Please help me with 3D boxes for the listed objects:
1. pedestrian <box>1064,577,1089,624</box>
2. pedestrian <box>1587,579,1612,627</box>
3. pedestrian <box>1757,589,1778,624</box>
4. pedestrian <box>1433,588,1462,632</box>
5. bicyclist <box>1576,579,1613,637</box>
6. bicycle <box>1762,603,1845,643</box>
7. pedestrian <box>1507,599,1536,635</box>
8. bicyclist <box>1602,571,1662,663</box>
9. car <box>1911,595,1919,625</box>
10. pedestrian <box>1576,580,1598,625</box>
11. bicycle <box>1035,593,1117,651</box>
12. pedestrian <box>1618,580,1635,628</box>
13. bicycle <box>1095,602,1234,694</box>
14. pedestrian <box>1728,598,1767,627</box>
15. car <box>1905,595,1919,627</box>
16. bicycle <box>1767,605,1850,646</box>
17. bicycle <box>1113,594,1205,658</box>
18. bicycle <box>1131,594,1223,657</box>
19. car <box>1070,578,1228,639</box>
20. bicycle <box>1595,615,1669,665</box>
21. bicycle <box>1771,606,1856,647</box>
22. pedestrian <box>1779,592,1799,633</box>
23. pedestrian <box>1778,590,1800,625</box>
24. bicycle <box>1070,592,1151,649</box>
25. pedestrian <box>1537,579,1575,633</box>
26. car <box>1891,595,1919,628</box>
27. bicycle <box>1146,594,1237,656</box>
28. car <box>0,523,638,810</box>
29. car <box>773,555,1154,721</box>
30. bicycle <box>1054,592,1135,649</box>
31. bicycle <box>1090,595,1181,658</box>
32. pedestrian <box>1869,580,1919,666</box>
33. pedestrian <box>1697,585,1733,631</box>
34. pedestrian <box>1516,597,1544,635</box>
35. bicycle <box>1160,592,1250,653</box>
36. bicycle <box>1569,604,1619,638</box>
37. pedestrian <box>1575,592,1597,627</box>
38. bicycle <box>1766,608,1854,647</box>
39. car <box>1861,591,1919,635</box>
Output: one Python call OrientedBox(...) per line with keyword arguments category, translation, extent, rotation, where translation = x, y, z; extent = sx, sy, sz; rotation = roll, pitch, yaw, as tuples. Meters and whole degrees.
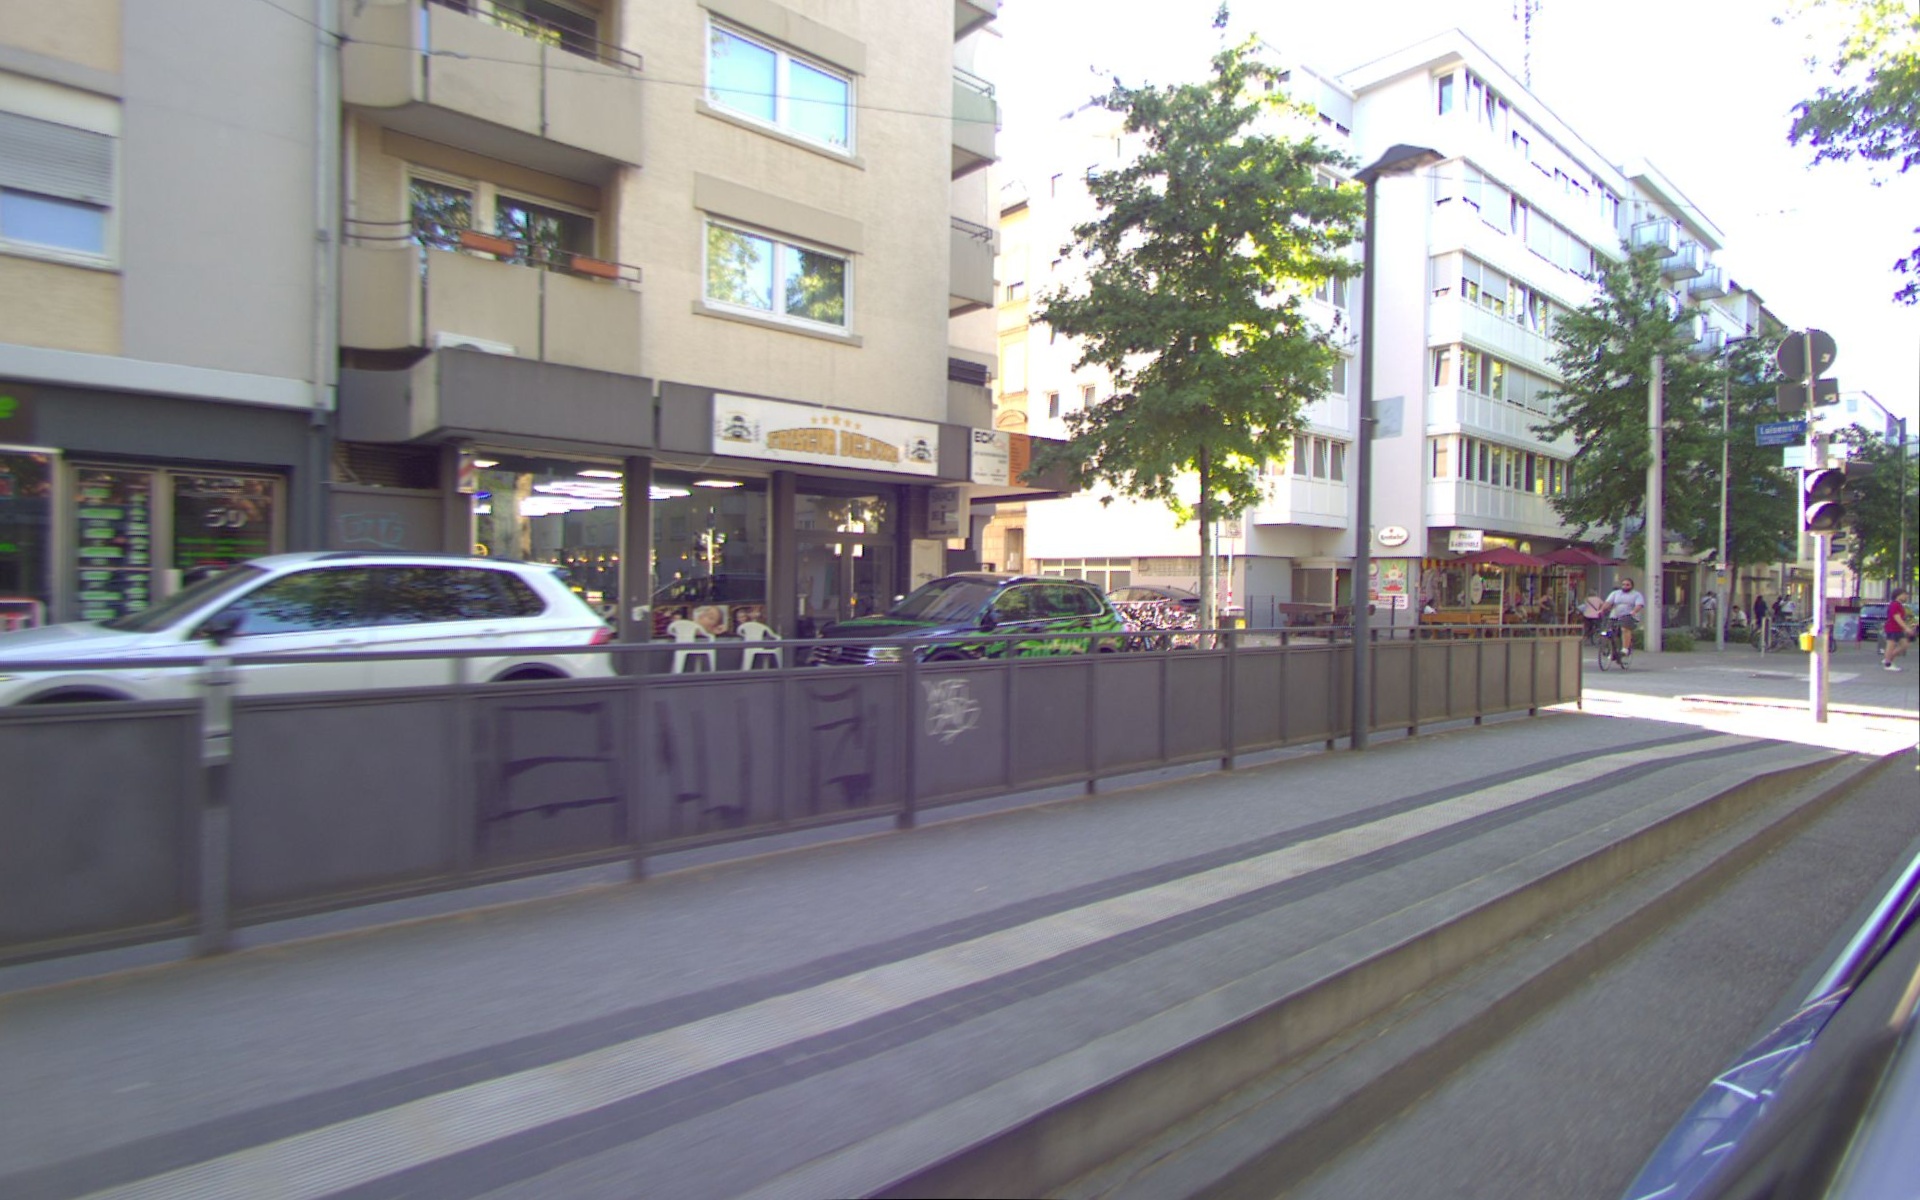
OrientedBox(category="pedestrian", translation=(3.983, 0.021, 34.637), extent=(0.633, 1.581, 0.553), rotation=(-1, 1, -36))
OrientedBox(category="pedestrian", translation=(24.385, 0.101, 38.613), extent=(0.620, 1.828, 0.526), rotation=(0, 0, 3))
OrientedBox(category="pedestrian", translation=(39.866, 0.305, 49.942), extent=(0.919, 1.698, 0.597), rotation=(0, 3, -43))
OrientedBox(category="pedestrian", translation=(14.898, 0.293, 30.922), extent=(0.703, 1.303, 0.536), rotation=(0, 0, -39))
OrientedBox(category="bicyclist", translation=(19.170, 0.234, 30.563), extent=(0.948, 1.739, 0.678), rotation=(0, 0, -39))
OrientedBox(category="bicycle", translation=(24.822, 0.662, 29.818), extent=(0.516, 1.114, 1.818), rotation=(0, 1, -41))
OrientedBox(category="pedestrian", translation=(17.459, 0.515, 31.474), extent=(0.513, 1.092, 0.642), rotation=(0, 0, -42))
OrientedBox(category="bicyclist", translation=(14.016, 0.341, 21.098), extent=(1.080, 1.854, 0.768), rotation=(0, 0, -40))
OrientedBox(category="car", translation=(52.272, 0.582, 54.002), extent=(4.056, 1.555, 1.790), rotation=(0, 3, -42))
OrientedBox(category="pedestrian", translation=(22.877, 0.081, 36.936), extent=(0.500, 1.649, 0.516), rotation=(0, 0, 12))
OrientedBox(category="bicycle", translation=(2.524, 0.458, 22.277), extent=(0.503, 1.223, 1.915), rotation=(-1, 1, -44))
OrientedBox(category="pedestrian", translation=(25.641, 0.142, 38.918), extent=(0.481, 1.819, 0.432), rotation=(0, 0, -42))
OrientedBox(category="bicycle", translation=(2.882, 0.641, 14.496), extent=(0.668, 1.202, 2.134), rotation=(0, 0, -32))
OrientedBox(category="pedestrian", translation=(28.712, 0.452, 36.912), extent=(0.992, 1.040, 0.655), rotation=(0, 0, 28))
OrientedBox(category="car", translation=(49.275, 0.564, 51.470), extent=(2.831, 1.556, 1.447), rotation=(0, 3, -41))
OrientedBox(category="bicycle", translation=(24.489, 0.721, 29.240), extent=(1.814, 1.114, 0.474), rotation=(0, 0, 42))
OrientedBox(category="bicycle", translation=(4.094, 0.514, 20.934), extent=(0.502, 1.223, 1.916), rotation=(1, 1, -44))
OrientedBox(category="bicycle", translation=(4.535, 0.515, 21.258), extent=(0.502, 1.223, 1.916), rotation=(1, 1, -44))
OrientedBox(category="car", translation=(5.415, 0.199, 29.427), extent=(1.933, 1.612, 4.255), rotation=(-2, 2, -41))
OrientedBox(category="bicycle", translation=(14.034, 0.804, 21.113), extent=(1.905, 0.949, 0.790), rotation=(-1, 0, -41))
OrientedBox(category="bicycle", translation=(24.160, 0.726, 28.667), extent=(1.814, 1.114, 0.490), rotation=(0, 0, 42))
OrientedBox(category="pedestrian", translation=(38.593, 0.586, 47.124), extent=(0.530, 1.875, 0.663), rotation=(0, 0, -42))
OrientedBox(category="pedestrian", translation=(40.429, 0.352, 49.352), extent=(0.855, 1.658, 0.643), rotation=(0, 2, -43))
OrientedBox(category="bicycle", translation=(3.419, 0.451, 23.159), extent=(0.502, 1.223, 1.915), rotation=(2, -1, -44))
OrientedBox(category="pedestrian", translation=(19.137, 0.184, 32.508), extent=(0.665, 1.680, 0.816), rotation=(0, 0, -24))
OrientedBox(category="car", translation=(46.403, 0.544, 49.030), extent=(3.825, 1.500, 1.624), rotation=(0, 3, -44))
OrientedBox(category="bicycle", translation=(4.916, 0.508, 21.621), extent=(0.502, 1.223, 1.916), rotation=(2, 0, -44))
OrientedBox(category="car", translation=(-4.829, 0.358, 7.464), extent=(4.337, 1.626, 1.803), rotation=(-1, 0, -41))
OrientedBox(category="car", translation=(0.167, 0.345, 12.167), extent=(4.367, 1.636, 1.997), rotation=(-1, 0, -41))
OrientedBox(category="bicycle", translation=(2.993, 0.446, 22.732), extent=(0.502, 1.223, 1.915), rotation=(0, 0, -44))
OrientedBox(category="bicycle", translation=(3.572, 0.519, 20.710), extent=(0.502, 1.223, 1.915), rotation=(0, 0, -44))
OrientedBox(category="pedestrian", translation=(20.239, 0.474, 21.638), extent=(0.861, 1.780, 1.048), rotation=(0, 0, -36))
OrientedBox(category="pedestrian", translation=(29.843, 0.300, 40.004), extent=(0.976, 1.806, 0.592), rotation=(0, 0, 1))
OrientedBox(category="pedestrian", translation=(18.108, 0.491, 32.168), extent=(0.513, 1.190, 0.659), rotation=(0, 0, -42))
OrientedBox(category="bicycle", translation=(5.303, 0.477, 21.983), extent=(0.502, 1.223, 1.916), rotation=(2, 0, -44))
OrientedBox(category="bicycle", translation=(19.107, 0.622, 30.489), extent=(1.985, 0.975, 0.678), rotation=(-1, 0, -39))
OrientedBox(category="pedestrian", translation=(22.897, 0.340, 37.021), extent=(0.501, 1.292, 0.624), rotation=(0, 0, 12))
OrientedBox(category="bicycle", translation=(23.450, 0.751, 27.958), extent=(0.473, 1.007, 1.817), rotation=(0, 0, -42))
OrientedBox(category="car", translation=(38.567, 0.493, 41.537), extent=(4.254, 1.606, 1.763), rotation=(0, 5, -41))
